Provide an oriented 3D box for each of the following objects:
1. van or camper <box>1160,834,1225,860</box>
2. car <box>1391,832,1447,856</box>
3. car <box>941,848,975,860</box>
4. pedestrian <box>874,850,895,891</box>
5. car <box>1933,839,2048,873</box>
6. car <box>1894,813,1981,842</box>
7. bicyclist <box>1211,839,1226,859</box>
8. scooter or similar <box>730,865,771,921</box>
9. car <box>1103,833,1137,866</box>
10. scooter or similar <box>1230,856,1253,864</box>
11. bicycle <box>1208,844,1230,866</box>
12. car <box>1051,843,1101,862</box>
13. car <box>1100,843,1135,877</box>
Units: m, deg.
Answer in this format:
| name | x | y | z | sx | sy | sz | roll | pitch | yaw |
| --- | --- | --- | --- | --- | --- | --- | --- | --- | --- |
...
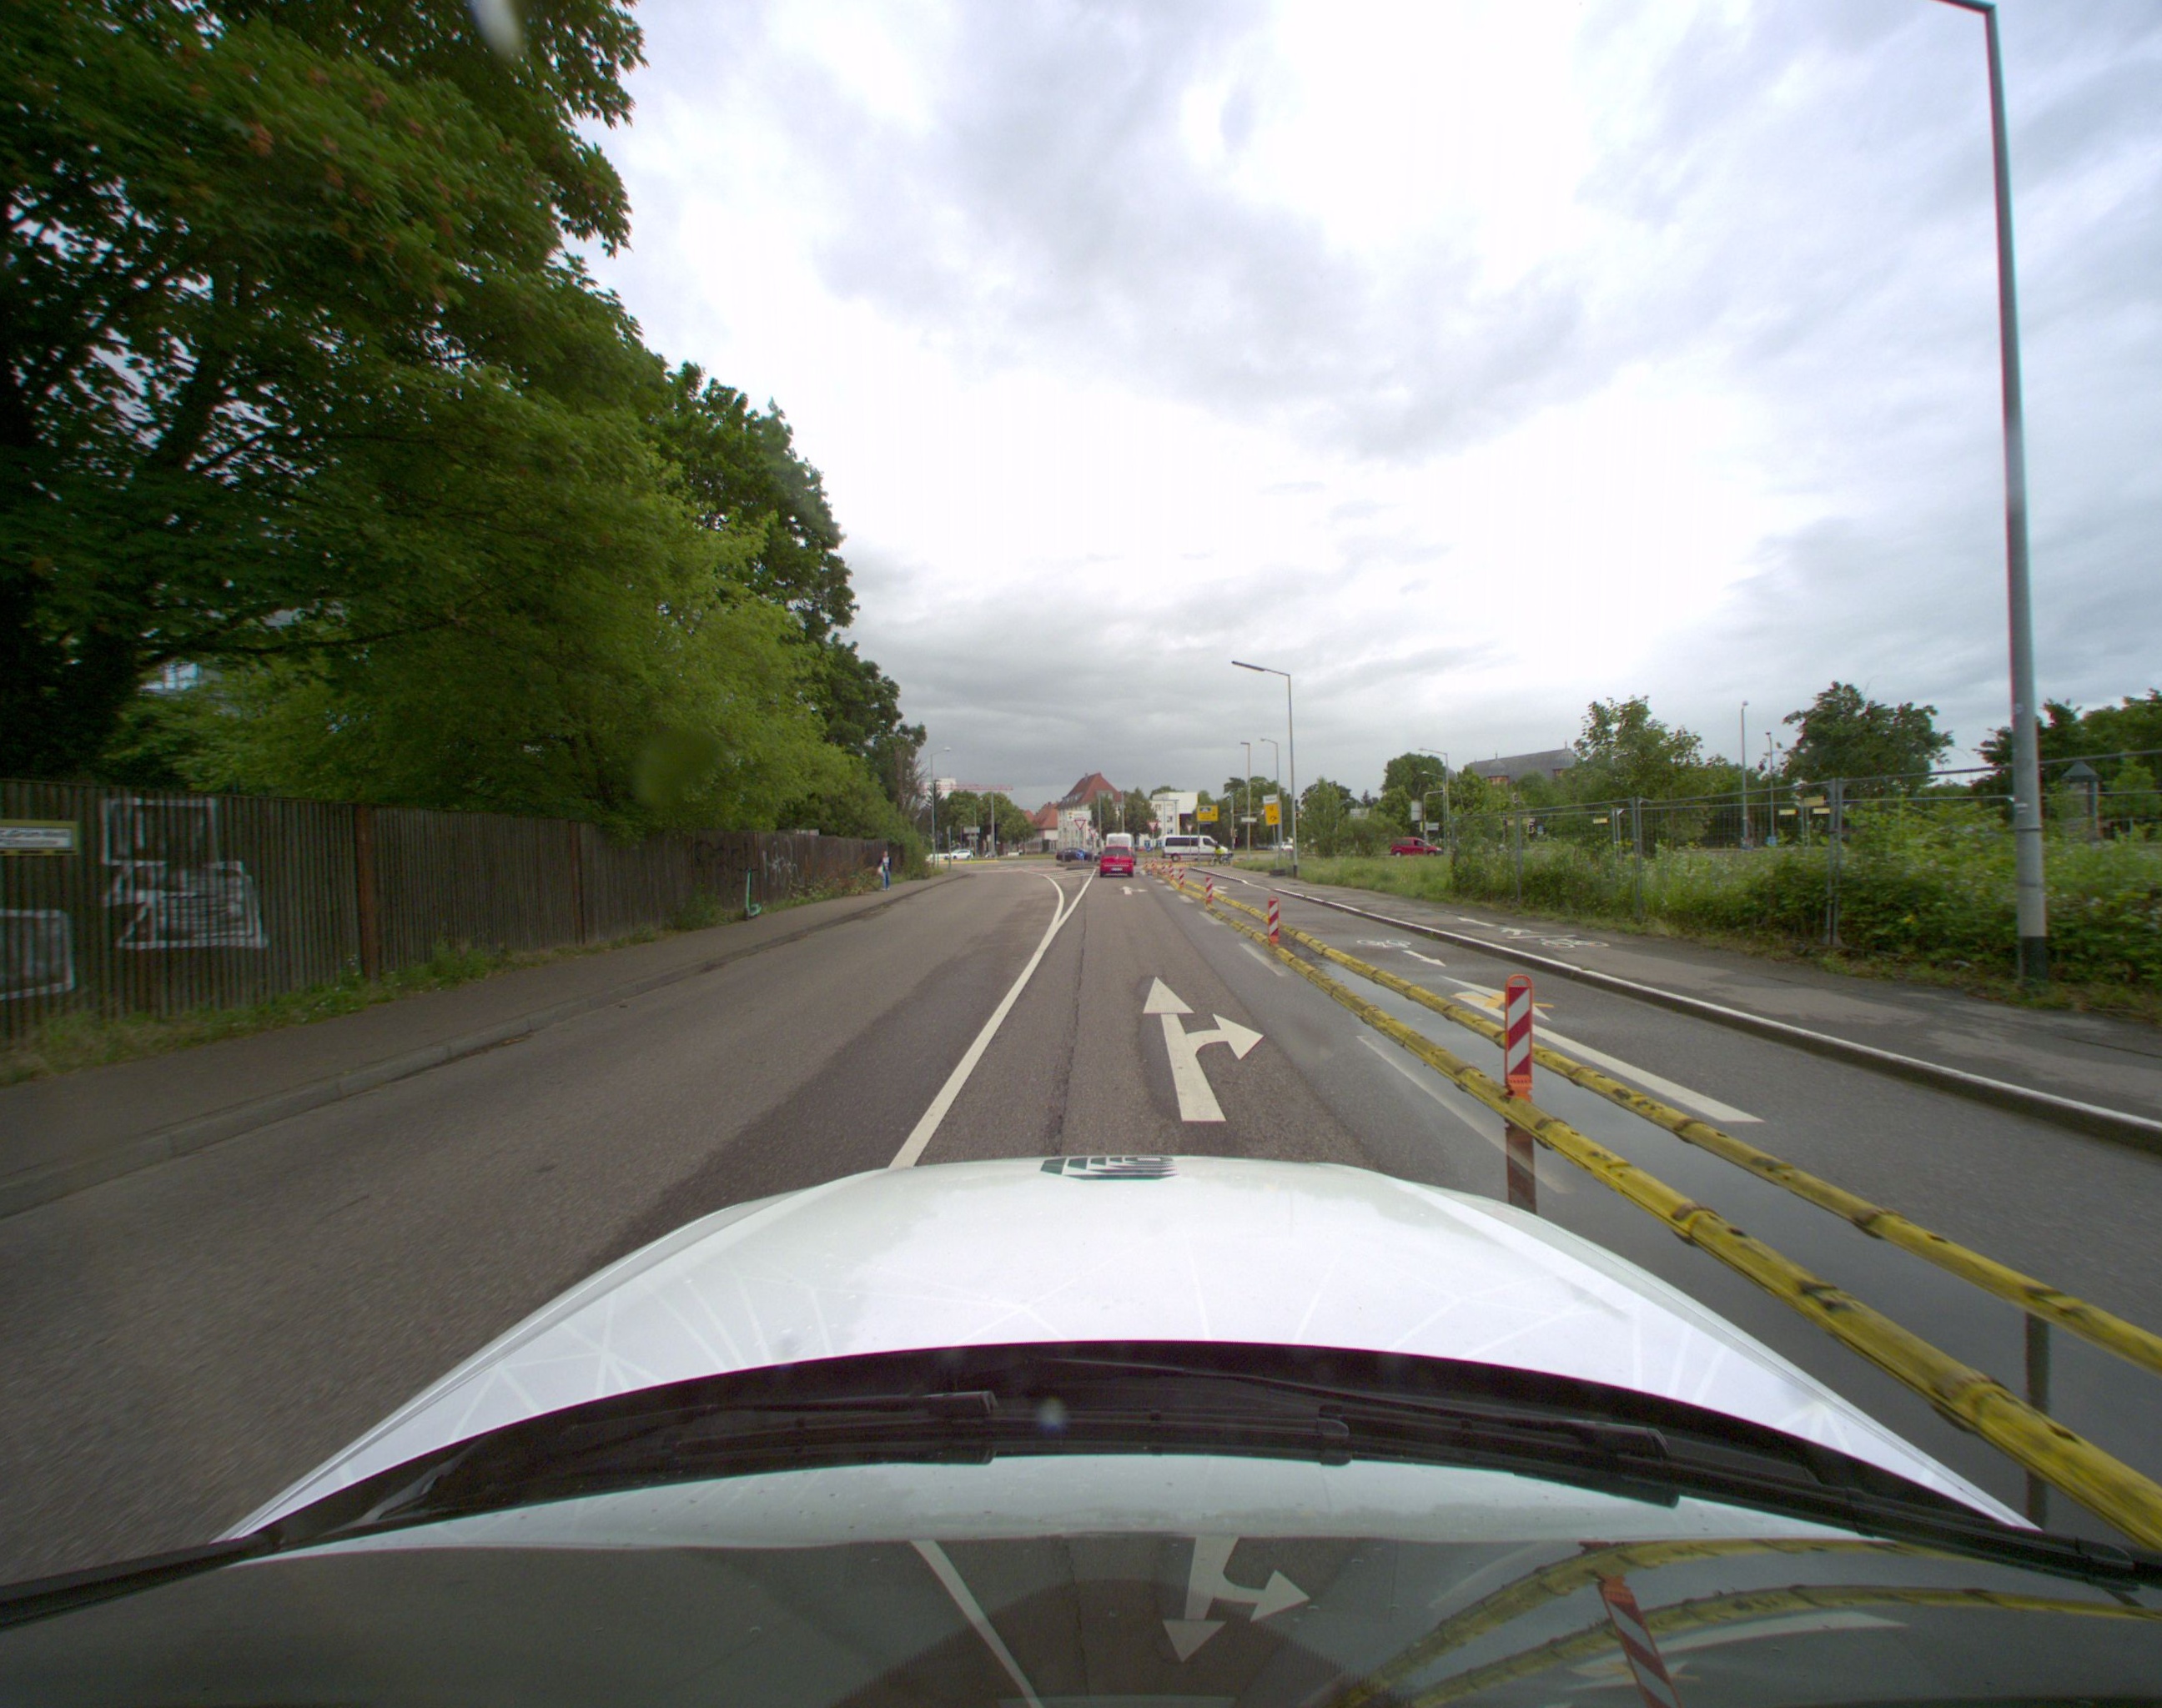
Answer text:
| name | x | y | z | sx | sy | sz | roll | pitch | yaw |
| --- | --- | --- | --- | --- | --- | --- | --- | --- | --- |
| van or camper | 9.837 | -0.652 | 71.878 | 5.503 | 2.115 | 2.005 | -2 | 0 | 7 |
| car | 28.689 | -0.858 | 69.272 | 4.161 | 1.917 | 2.125 | -1 | 0 | 17 |
| car | -17.685 | 0.012 | 117.094 | 1.974 | 1.635 | 4.705 | -1 | 0 | 38 |
| pedestrian | -7.501 | 0.619 | 31.173 | 0.610 | 1.529 | 0.723 | -2 | 0 | -2 |
| car | 51.991 | 0.115 | 46.699 | 4.155 | 1.813 | 2.091 | -1 | 0 | 42 |
| car | 64.816 | -1.960 | 61.699 | 2.011 | 2.013 | 4.424 | -2 | 0 | -42 |
| bicyclist | 10.070 | -0.389 | 59.728 | 1.057 | 1.401 | 0.616 | -2 | 0 | 4 |
| scooter or similar | -7.463 | 0.859 | 18.415 | 0.422 | 1.170 | 1.302 | -2 | 0 | -3 |
| car | 3.149 | -0.362 | 64.616 | 2.183 | 2.540 | 4.974 | 0 | 0 | 8 |
| scooter or similar | 11.753 | 0.446 | 59.609 | 1.600 | 0.504 | 0.926 | -2 | 0 | 5 |
| bicycle | 10.135 | 0.072 | 59.736 | 1.470 | 1.612 | 0.607 | -2 | 0 | 4 |
| car | -0.461 | -0.147 | 78.375 | 4.331 | 1.750 | 2.007 | -2 | 0 | 12 |
| car | 1.850 | 0.259 | 41.236 | 1.667 | 1.640 | 3.629 | 0 | 0 | 2 |
